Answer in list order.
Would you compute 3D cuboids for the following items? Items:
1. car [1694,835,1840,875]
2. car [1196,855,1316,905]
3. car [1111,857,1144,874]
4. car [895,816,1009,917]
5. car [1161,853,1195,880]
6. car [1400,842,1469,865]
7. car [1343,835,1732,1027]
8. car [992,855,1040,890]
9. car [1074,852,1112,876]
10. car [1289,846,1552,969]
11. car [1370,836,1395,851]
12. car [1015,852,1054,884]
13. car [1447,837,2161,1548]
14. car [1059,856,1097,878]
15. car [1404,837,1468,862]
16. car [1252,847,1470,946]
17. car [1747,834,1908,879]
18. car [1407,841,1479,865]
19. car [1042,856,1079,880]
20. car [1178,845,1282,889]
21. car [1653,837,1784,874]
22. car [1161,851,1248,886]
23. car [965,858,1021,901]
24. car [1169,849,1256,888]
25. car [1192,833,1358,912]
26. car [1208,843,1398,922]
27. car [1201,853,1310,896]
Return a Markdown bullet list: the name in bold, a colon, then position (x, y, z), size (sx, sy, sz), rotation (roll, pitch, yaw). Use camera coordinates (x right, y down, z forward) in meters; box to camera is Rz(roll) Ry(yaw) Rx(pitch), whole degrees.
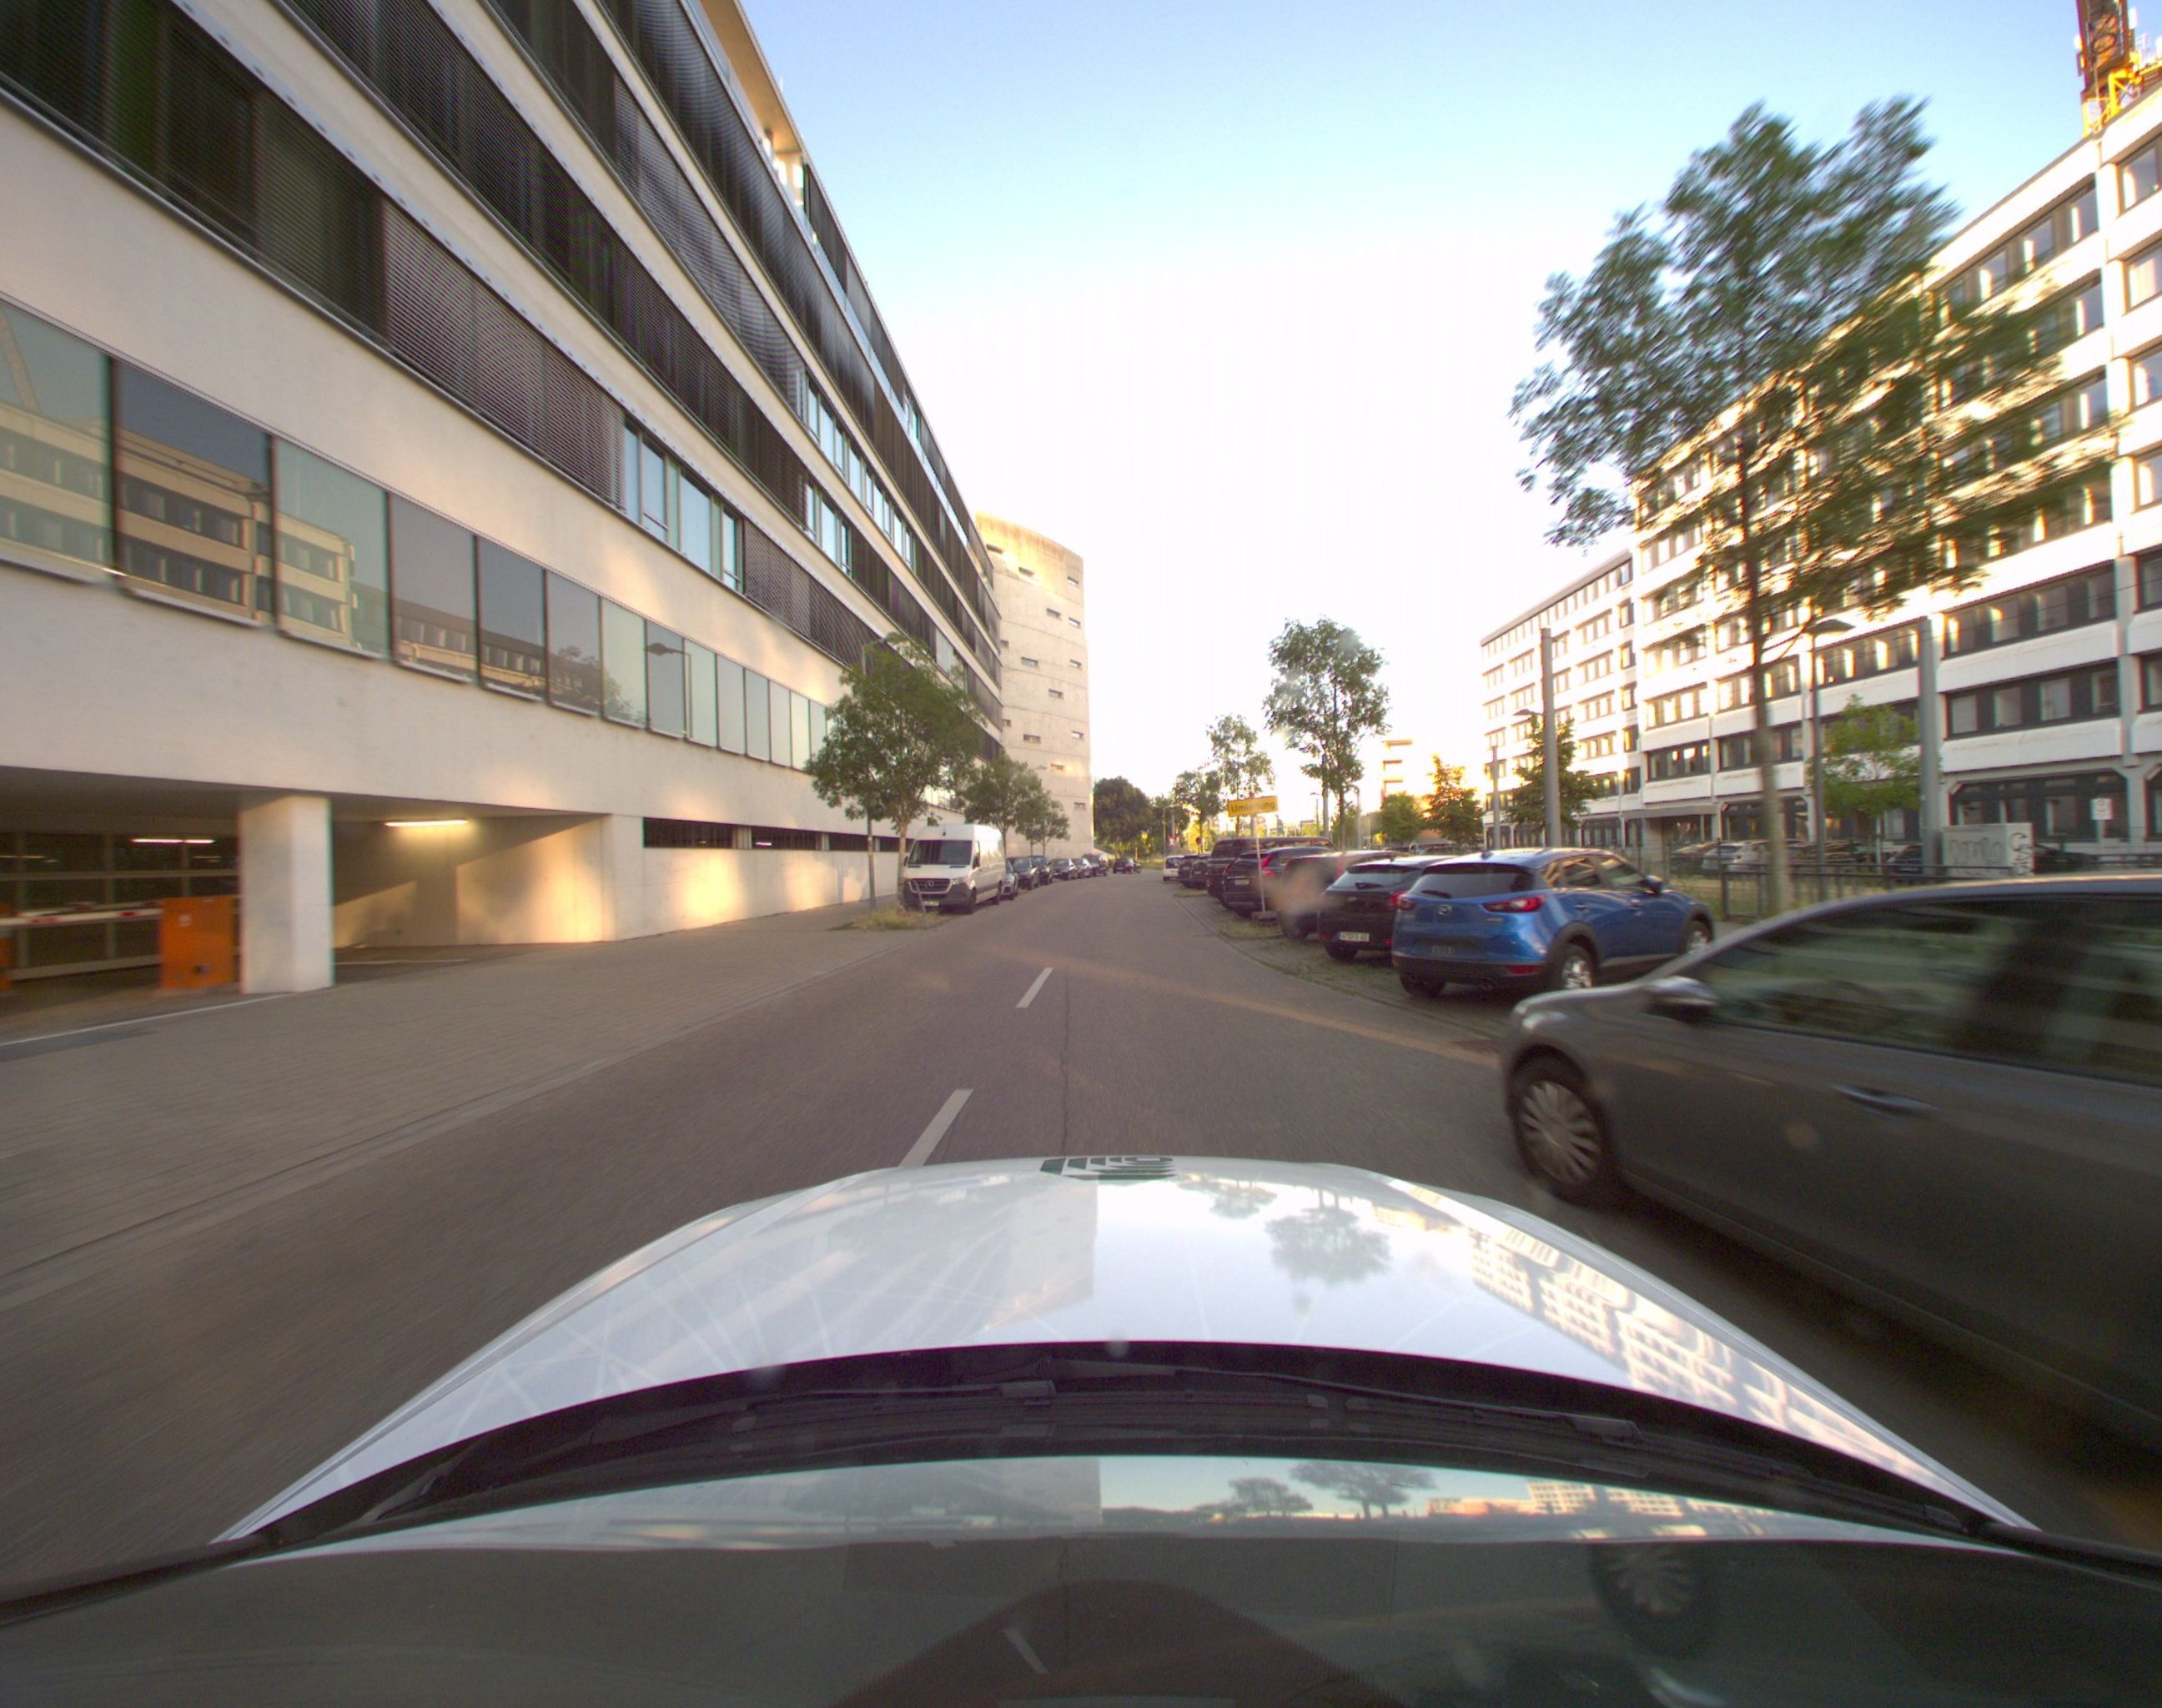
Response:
- **car**: position (25.060, 0.031, 29.841), size (3.972, 1.398, 1.592), rotation (1, 0, 1)
- **car**: position (5.725, 0.788, 26.478), size (3.793, 1.465, 1.622), rotation (0, 1, -33)
- **car**: position (4.307, 1.026, 74.909), size (1.928, 1.382, 4.421), rotation (1, 1, 19)
- **car**: position (-3.691, 0.294, 24.782), size (1.950, 2.617, 6.899), rotation (0, 1, 3)
- **car**: position (5.953, 0.723, 49.706), size (1.711, 1.467, 3.564), rotation (-2, 0, 11)
- **car**: position (26.846, -0.065, 61.959), size (4.477, 1.602, 1.695), rotation (-2, 0, 2)
- **car**: position (4.938, 0.651, 8.699), size (4.015, 1.520, 1.908), rotation (-2, -1, -33)
- **car**: position (-3.094, 0.863, 39.632), size (1.748, 1.561, 4.047), rotation (0, 1, 3)
- **car**: position (1.022, 0.756, 64.952), size (1.743, 1.798, 4.484), rotation (0, 1, 18)
- **car**: position (5.123, 0.676, 12.105), size (4.017, 1.465, 1.718), rotation (-2, 0, -35)
- **car**: position (55.524, -1.976, 150.063), size (4.116, 2.584, 1.713), rotation (-2, 0, 24)
- **car**: position (-2.535, 0.745, 45.146), size (1.749, 1.653, 3.951), rotation (0, 1, 2)
- **car**: position (3.023, 0.710, 2.481), size (1.729, 1.466, 3.991), rotation (0, -1, -6)
- **car**: position (-0.182, 0.903, 59.813), size (1.710, 1.457, 4.711), rotation (0, 1, 13)
- **car**: position (29.447, -0.348, 67.720), size (4.475, 1.937, 1.933), rotation (-2, 0, 4)
- **car**: position (5.217, 0.706, 15.008), size (4.015, 1.595, 1.719), rotation (1, -1, -33)
- **car**: position (25.065, 0.076, 27.438), size (3.972, 1.398, 1.592), rotation (1, 0, 1)
- **car**: position (26.410, -0.054, 59.523), size (4.477, 1.602, 1.695), rotation (-2, 0, 2)
- **car**: position (-1.337, 0.913, 54.424), size (1.712, 1.457, 4.283), rotation (0, 1, 9)
- **car**: position (6.474, 0.566, 35.463), size (3.994, 1.640, 1.957), rotation (-3, 0, -25)
- **car**: position (25.240, 0.052, 32.335), size (3.972, 1.398, 1.592), rotation (1, 0, 1)
- **car**: position (6.324, 0.722, 41.619), size (3.942, 1.509, 1.939), rotation (-3, 0, -27)
- **car**: position (-3.239, 0.890, 30.497), size (1.751, 1.439, 3.899), rotation (0, 1, -2)
- **car**: position (6.196, 0.638, 38.203), size (3.790, 1.725, 1.747), rotation (0, 0, -30)
- **car**: position (5.506, 0.464, 22.953), size (4.618, 2.035, 1.853), rotation (0, 0, -31)
- **car**: position (5.494, 0.607, 19.979), size (4.618, 1.749, 1.853), rotation (0, 1, -31)
- **car**: position (6.383, 0.704, 29.752), size (3.793, 1.442, 1.745), rotation (0, 1, -33)
